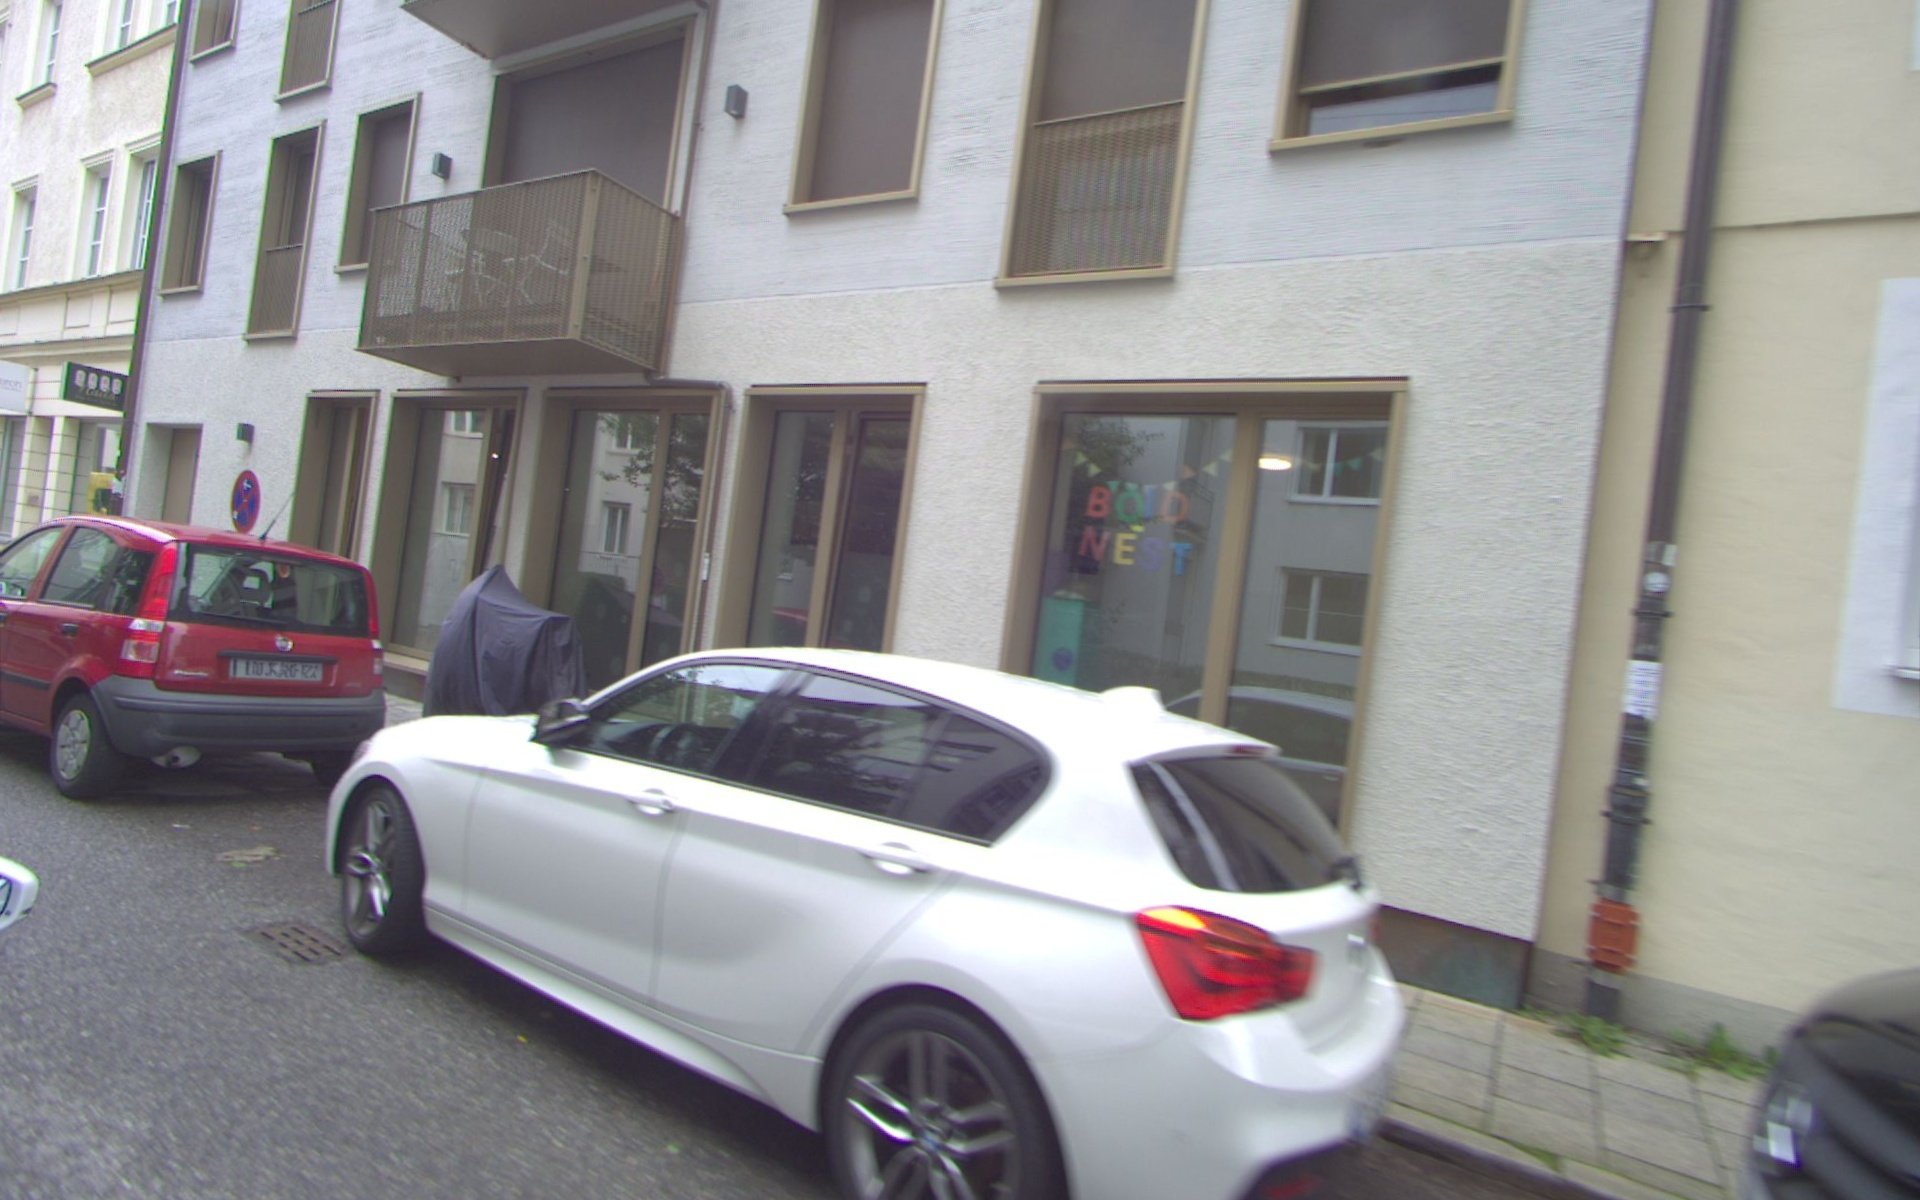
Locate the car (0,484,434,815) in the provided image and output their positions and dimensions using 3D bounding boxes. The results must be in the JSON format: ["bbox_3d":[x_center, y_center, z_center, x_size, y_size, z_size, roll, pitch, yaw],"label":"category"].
[{"bbox_3d":[-5.503,0.171,6.609,4.001,1.540,1.776,7,-3,34],"label":"car"}]

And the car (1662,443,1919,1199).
[{"bbox_3d":[3.827,1.034,0.970,4.801,1.998,1.997,7,-3,29],"label":"car"}]

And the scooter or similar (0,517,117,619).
[{"bbox_3d":[-11.700,-0.427,13.090,0.488,1.199,1.601,5,2,-18],"label":"scooter or similar"}]

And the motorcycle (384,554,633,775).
[{"bbox_3d":[-3.629,0.462,8.031,1.900,1.441,0.805,7,2,33],"label":"motorcycle"}]

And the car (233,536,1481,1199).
[{"bbox_3d":[-0.640,0.790,3.731,4.309,1.477,1.772,7,-3,33],"label":"car"}]
